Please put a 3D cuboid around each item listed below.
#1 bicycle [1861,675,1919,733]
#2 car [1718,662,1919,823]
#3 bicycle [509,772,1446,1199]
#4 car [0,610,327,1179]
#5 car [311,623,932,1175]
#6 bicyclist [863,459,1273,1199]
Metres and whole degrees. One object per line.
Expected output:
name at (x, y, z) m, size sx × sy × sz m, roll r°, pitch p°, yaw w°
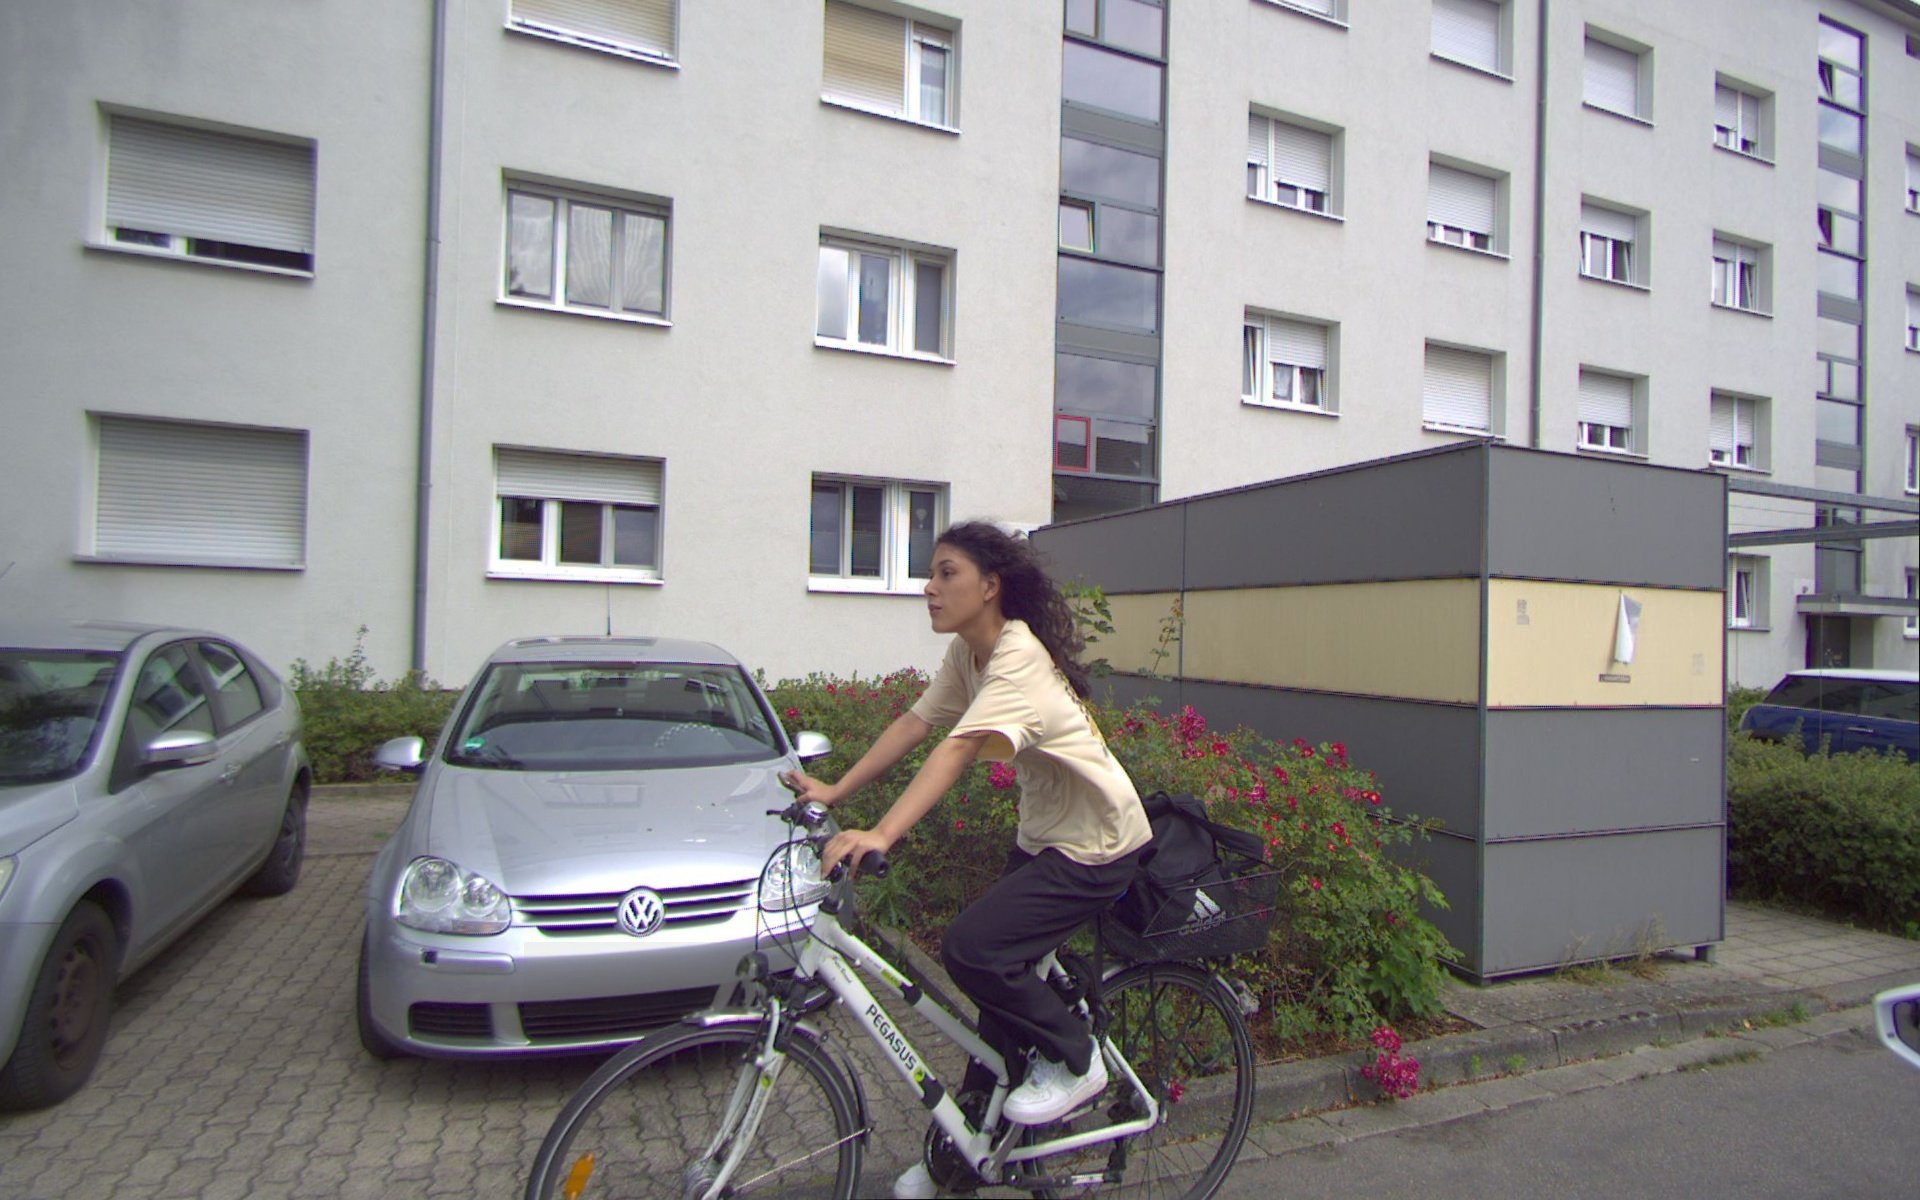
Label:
bicycle at (18.298, 1.989, 19.021) m, size 1.777 × 1.038 × 0.479 m, roll 0°, pitch -2°, yaw 28°
car at (9.837, 1.399, 9.800) m, size 1.627 × 1.480 × 3.633 m, roll 2°, pitch -3°, yaw -18°
bicycle at (0.101, 1.000, 2.276) m, size 2.012 × 1.090 × 0.596 m, roll 2°, pitch -3°, yaw -21°
car at (-4.023, 0.821, 4.022) m, size 1.756 × 1.524 × 4.044 m, roll 2°, pitch -3°, yaw -22°
car at (-1.669, 0.907, 4.943) m, size 1.756 × 1.483 × 4.044 m, roll 2°, pitch -3°, yaw -22°
bicyclist at (0.230, 0.551, 2.345) m, size 0.756 × 1.601 × 0.596 m, roll 2°, pitch -3°, yaw -21°
